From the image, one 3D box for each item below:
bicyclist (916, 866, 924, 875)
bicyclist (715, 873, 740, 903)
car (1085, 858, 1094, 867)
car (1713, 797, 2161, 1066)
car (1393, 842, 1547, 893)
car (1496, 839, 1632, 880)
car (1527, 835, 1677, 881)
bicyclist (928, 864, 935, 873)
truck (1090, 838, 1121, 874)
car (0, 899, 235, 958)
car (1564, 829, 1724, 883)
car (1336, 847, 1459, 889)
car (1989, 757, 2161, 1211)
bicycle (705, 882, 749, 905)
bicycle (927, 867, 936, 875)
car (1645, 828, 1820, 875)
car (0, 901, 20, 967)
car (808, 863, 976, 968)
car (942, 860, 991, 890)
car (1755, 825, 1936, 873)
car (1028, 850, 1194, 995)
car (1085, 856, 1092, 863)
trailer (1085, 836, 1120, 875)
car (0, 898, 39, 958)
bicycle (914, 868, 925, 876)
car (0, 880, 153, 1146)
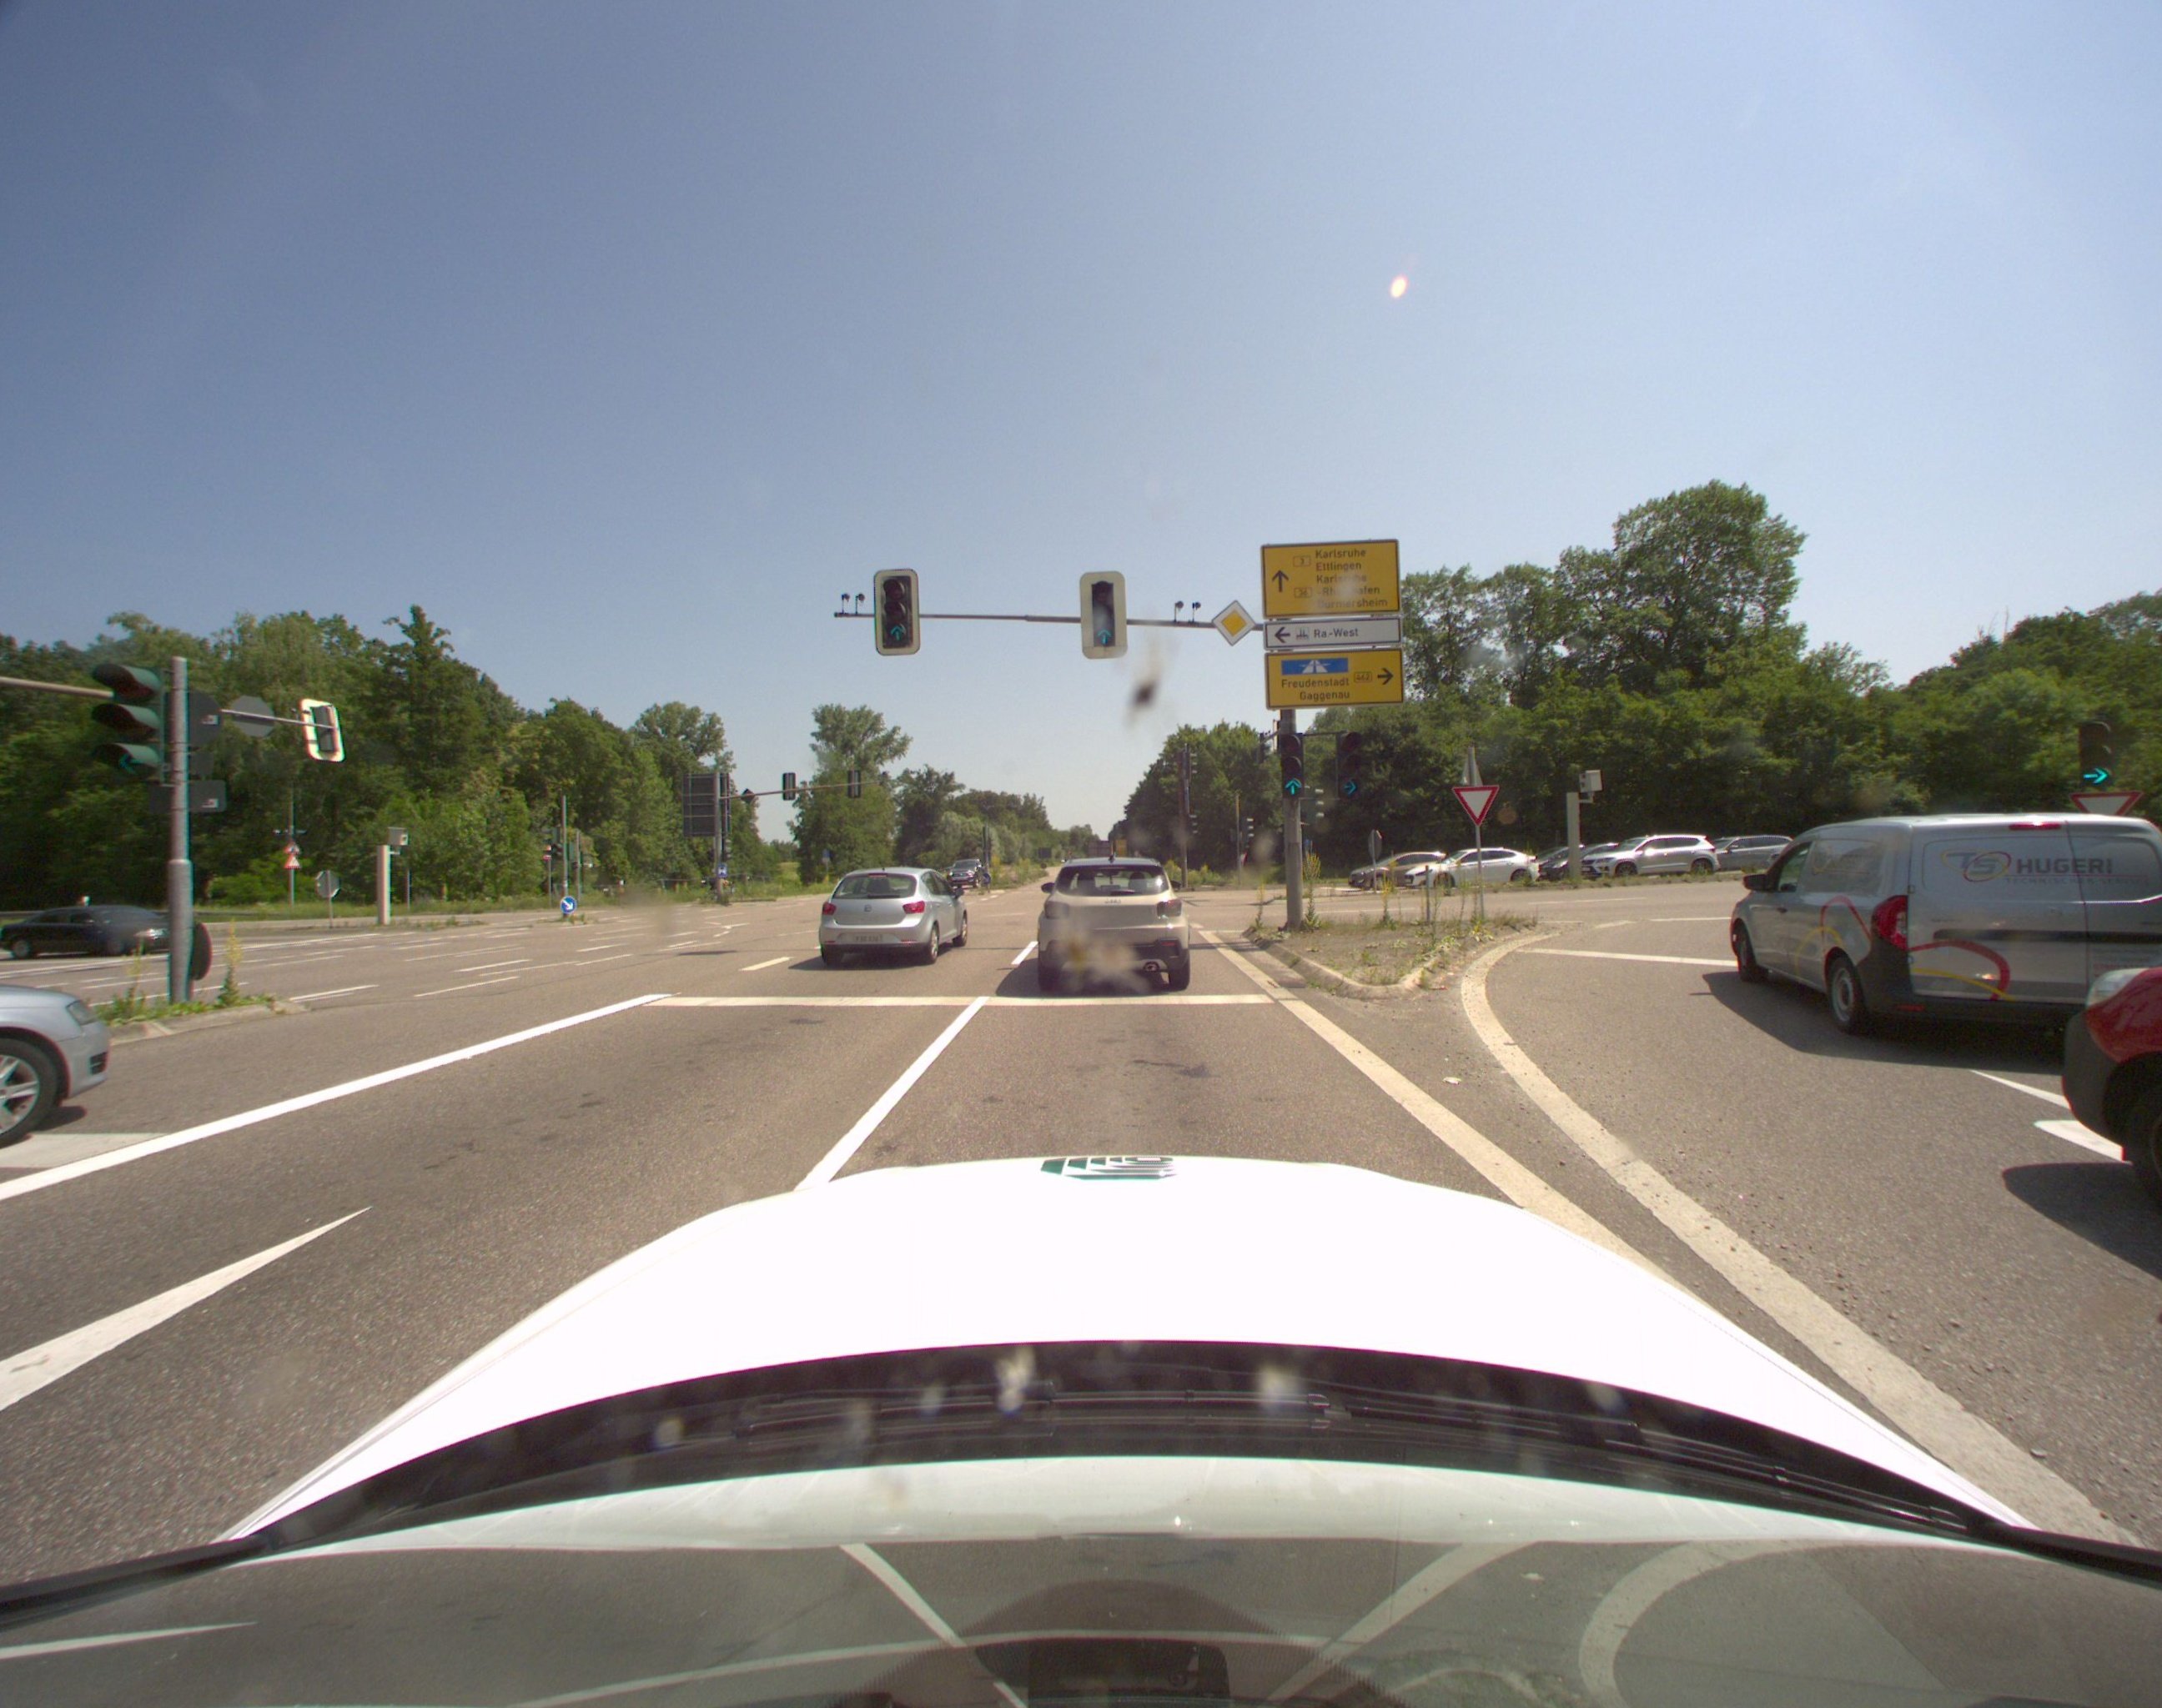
[{"bbox_3d":[-20.904,2.143,105.567,0.752,1.195,0.594,-3,-1,12],"label":"bicyclist"},{"bbox_3d":[-17.597,1.682,40.539,0.914,1.459,0.721,-3,-1,39],"label":"bicyclist"},{"bbox_3d":[2.184,2.121,206.159,1.986,2.014,4.555,-2,-1,2],"label":"car"},{"bbox_3d":[7.486,0.511,7.479,1.740,1.773,4.136,-2,0,25],"label":"car"},{"bbox_3d":[13.487,0.451,28.459,4.405,1.535,2.000,-2,-1,0],"label":"car"},{"bbox_3d":[20.846,0.249,35.338,4.599,1.498,2.113,-2,-1,2],"label":"car"},{"bbox_3d":[20.151,0.187,31.645,4.403,1.535,2.123,-2,-1,1],"label":"car"},{"bbox_3d":[-20.317,1.939,110.394,0.730,1.195,0.594,-3,-1,13],"label":"bicyclist"},{"bbox_3d":[2.987,0.278,96.661,3.317,3.989,6.541,-1,-1,4],"label":"truck"},{"bbox_3d":[-27.003,2.053,22.647,4.786,1.290,2.106,-2,-1,2],"label":"car"},{"bbox_3d":[19.663,0.077,28.589,4.156,1.659,2.001,-2,-1,1],"label":"car"},{"bbox_3d":[12.503,0.562,32.337,4.079,1.447,1.995,-2,-1,-1],"label":"car"},{"bbox_3d":[4.868,0.513,1.638,1.779,1.822,4.512,-1,0,13],"label":"car"},{"bbox_3d":[-17.621,1.961,40.547,0.715,1.063,1.881,-3,-1,39],"label":"bicycle"},{"bbox_3d":[-20.257,2.311,110.310,0.600,1.006,1.561,-3,-1,13],"label":"bicycle"},{"bbox_3d":[25.662,-0.076,32.227,5.109,1.534,2.139,-3,-1,2],"label":"car"},{"bbox_3d":[-28.306,2.010,18.821,4.787,1.567,2.130,-2,-1,1],"label":"car"},{"bbox_3d":[-2.864,0.875,13.170,1.659,1.430,3.830,0,0,3],"label":"car"},{"bbox_3d":[-7.152,1.270,51.349,1.985,1.678,5.369,-3,-1,3],"label":"car"},{"bbox_3d":[26.443,-0.161,28.293,4.314,1.414,1.975,-3,-1,2],"label":"car"},{"bbox_3d":[0.417,0.758,10.810,1.760,1.535,4.003,-1,0,3],"label":"car"},{"bbox_3d":[2.309,1.697,252.589,1.767,2.014,4.003,-2,-1,3],"label":"car"},{"bbox_3d":[2.505,0.237,91.225,3.367,3.989,10.816,-1,-1,5],"label":"trailer"},{"bbox_3d":[-32.593,2.185,22.724,4.782,1.636,2.003,-2,-1,5],"label":"car"},{"bbox_3d":[-20.903,2.336,105.544,0.671,1.005,1.806,-3,0,12],"label":"bicycle"},{"bbox_3d":[-6.635,0.857,3.017,1.759,1.391,4.015,0,0,0],"label":"car"}]
